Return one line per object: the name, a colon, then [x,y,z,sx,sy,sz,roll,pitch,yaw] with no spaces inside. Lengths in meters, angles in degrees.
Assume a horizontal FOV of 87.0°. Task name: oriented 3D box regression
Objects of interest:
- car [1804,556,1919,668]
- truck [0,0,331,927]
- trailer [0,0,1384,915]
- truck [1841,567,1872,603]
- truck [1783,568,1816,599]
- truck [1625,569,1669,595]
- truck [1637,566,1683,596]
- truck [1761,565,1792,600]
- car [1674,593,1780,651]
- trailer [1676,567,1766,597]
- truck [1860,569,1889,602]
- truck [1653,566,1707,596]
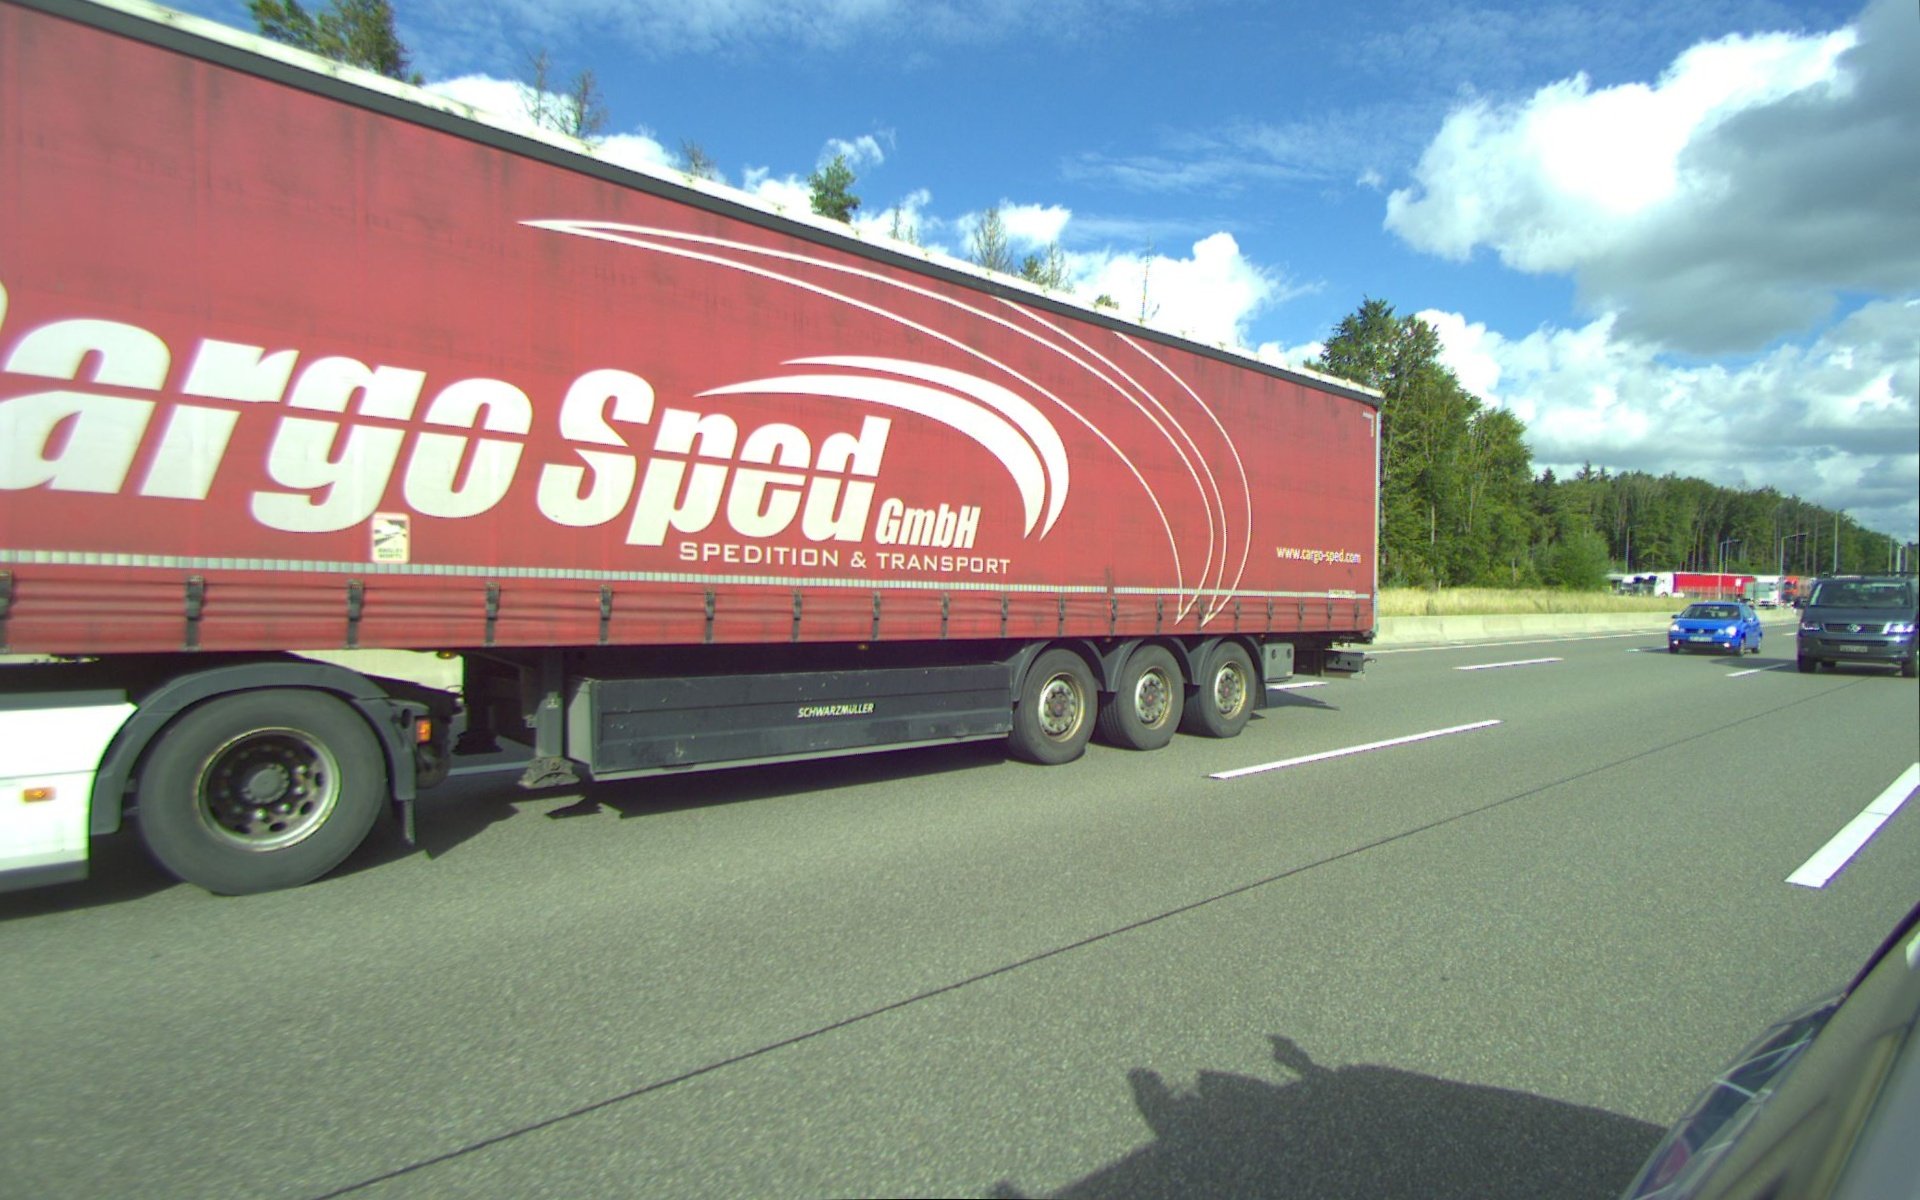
car: [19.538,0.222,21.452,4.847,2.136,1.852,0,0,-42]
truck: [-6.108,-0.723,4.107,5.672,4.096,2.779,0,0,-41]
trailer: [-0.872,-0.765,8.772,13.474,4.096,2.778,0,1,-41]
truck: [128.796,-2.160,145.381,6.867,4.986,2.658,0,2,-43]
truck: [128.022,-2.483,154.263,6.917,4.563,2.875,0,1,-43]
truck: [110.051,-2.880,162.190,5.079,4.169,2.570,1,1,5]
truck: [109.918,-2.982,158.999,5.030,4.564,2.895,1,1,4]
truck: [110.968,-2.322,137.523,2.870,4.563,7.070,2,2,41]
car: [21.184,0.560,27.900,3.932,1.460,1.652,0,1,-43]
trailer: [116.202,-2.755,154.628,11.182,4.429,2.842,1,0,5]
truck: [144.492,-2.297,159.825,7.139,4.986,2.658,0,2,-43]
truck: [110.336,-2.891,155.114,5.988,4.564,2.878,1,0,4]
